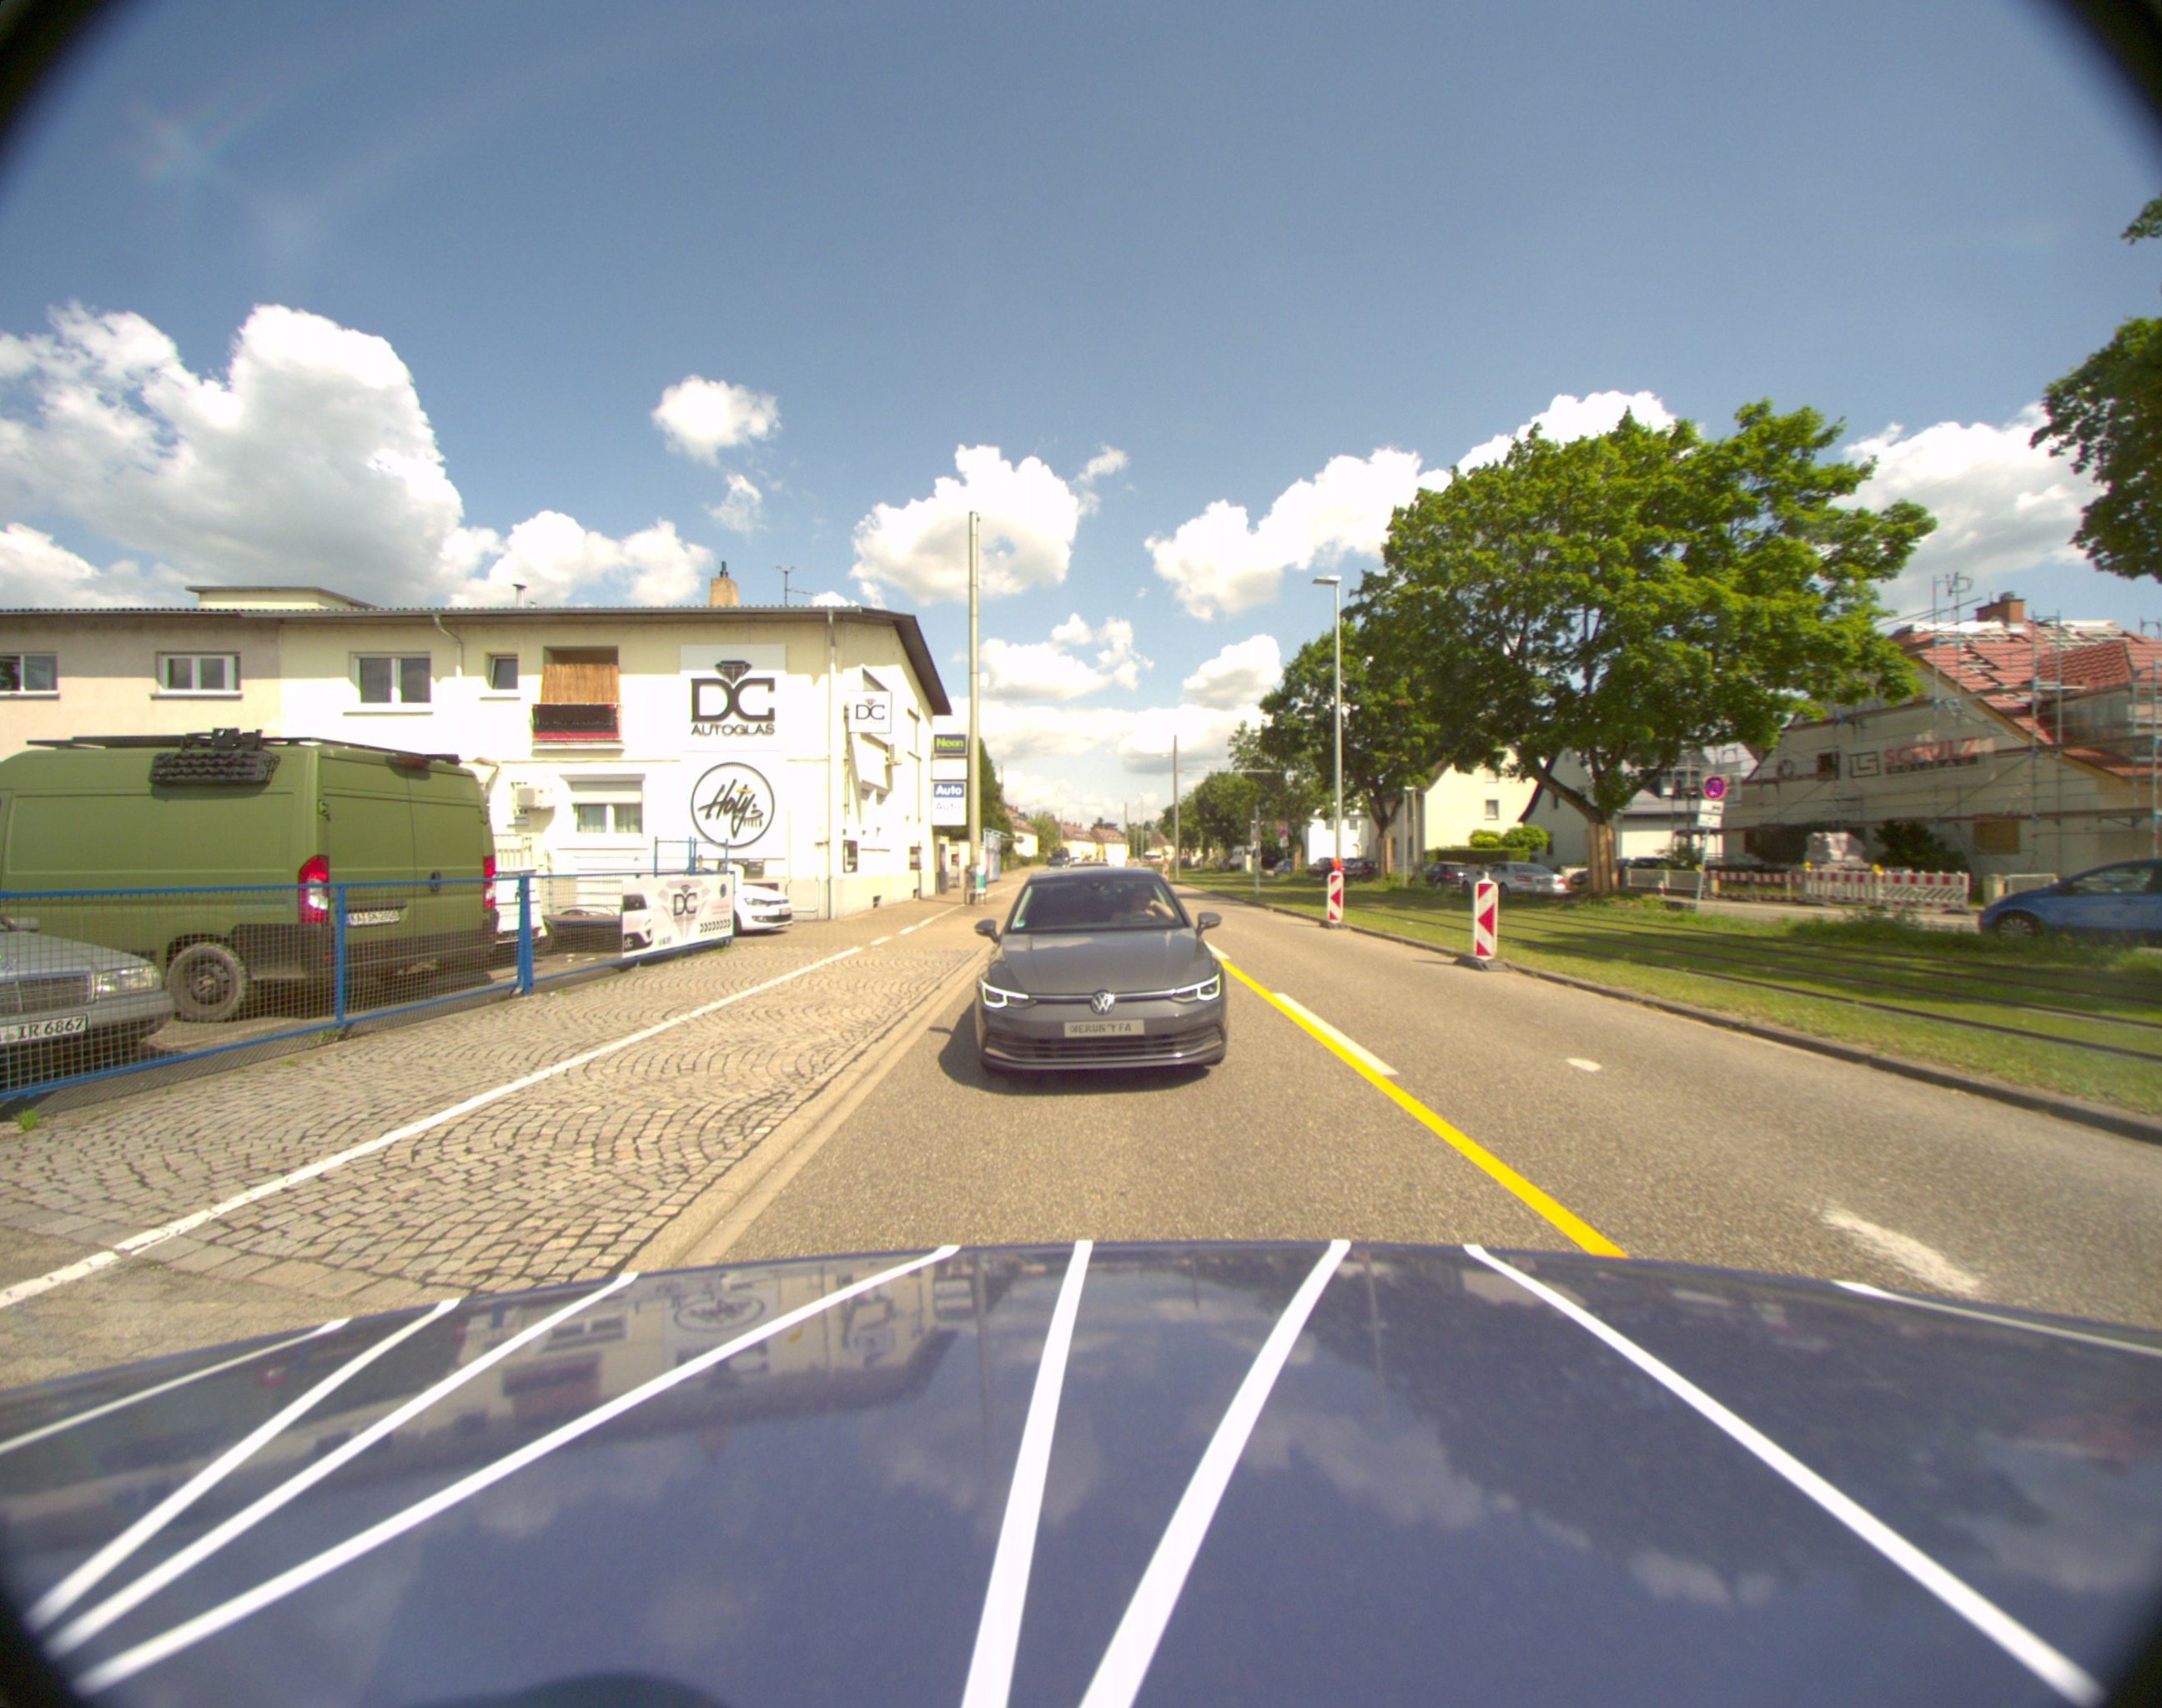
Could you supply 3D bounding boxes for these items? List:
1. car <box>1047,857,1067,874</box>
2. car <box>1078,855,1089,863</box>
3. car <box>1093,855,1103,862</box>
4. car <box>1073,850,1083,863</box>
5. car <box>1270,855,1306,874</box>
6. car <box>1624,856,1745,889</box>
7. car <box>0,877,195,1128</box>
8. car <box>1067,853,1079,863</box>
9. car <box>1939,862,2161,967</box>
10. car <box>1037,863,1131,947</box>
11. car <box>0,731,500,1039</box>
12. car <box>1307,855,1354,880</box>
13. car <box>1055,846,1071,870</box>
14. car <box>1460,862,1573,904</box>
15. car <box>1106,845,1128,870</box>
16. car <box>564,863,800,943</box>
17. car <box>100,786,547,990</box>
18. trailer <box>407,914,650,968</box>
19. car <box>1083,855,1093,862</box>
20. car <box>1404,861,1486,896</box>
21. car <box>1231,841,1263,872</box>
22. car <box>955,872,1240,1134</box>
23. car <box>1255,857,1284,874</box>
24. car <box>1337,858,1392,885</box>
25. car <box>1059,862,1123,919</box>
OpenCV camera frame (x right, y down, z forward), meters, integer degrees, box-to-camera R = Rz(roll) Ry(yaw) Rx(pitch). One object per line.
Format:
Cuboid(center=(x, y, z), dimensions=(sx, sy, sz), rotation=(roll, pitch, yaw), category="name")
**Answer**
Cuboid(center=(-2.182, 1.054, 70.749), dimensions=(1.702, 1.574, 4.000), rotation=(0, 0, 1), category="car")
Cuboid(center=(0.492, 0.912, 146.702), dimensions=(1.701, 1.574, 4.002), rotation=(0, 0, 6), category="car")
Cuboid(center=(3.856, 0.923, 173.592), dimensions=(1.700, 1.574, 4.004), rotation=(0, 0, 12), category="car")
Cuboid(center=(-0.481, 0.429, 136.398), dimensions=(1.701, 2.233, 4.947), rotation=(0, 0, 2), category="car")
Cuboid(center=(16.646, 0.881, 61.276), dimensions=(1.702, 1.477, 4.407), rotation=(-1, -1, 1), category="car")
Cuboid(center=(28.907, 0.895, 36.505), dimensions=(4.402, 1.477, 1.704), rotation=(-1, -1, 1), category="car")
Cuboid(center=(-8.459, 0.892, 4.769), dimensions=(4.282, 1.444, 1.713), rotation=(0, 0, 8), category="car")
Cuboid(center=(-1.309, 0.681, 123.035), dimensions=(1.701, 1.574, 4.001), rotation=(0, 0, 3), category="car")
Cuboid(center=(16.203, 0.870, 11.394), dimensions=(1.702, 1.477, 4.407), rotation=(-1, -1, 1), category="car")
Cuboid(center=(0.079, 0.945, 15.767), dimensions=(1.702, 1.477, 4.000), rotation=(0, 0, 1), category="car")
Cuboid(center=(-8.725, 0.275, 7.605), dimensions=(4.207, 2.627, 2.113), rotation=(0, 0, 2), category="car")
Cuboid(center=(16.556, 0.904, 50.655), dimensions=(1.702, 1.562, 4.407), rotation=(-1, -1, 1), category="car")
Cuboid(center=(-1.909, 0.456, 82.434), dimensions=(1.702, 2.510, 5.144), rotation=(0, 0, 0), category="car")
Cuboid(center=(16.421, 1.071, 28.931), dimensions=(1.788, 1.477, 4.523), rotation=(-1, -1, 2), category="car")
Cuboid(center=(3.749, 0.362, 80.274), dimensions=(2.090, 2.449, 5.842), rotation=(2, 0, 2), category="car")
Cuboid(center=(-7.661, 0.920, 14.813), dimensions=(3.775, 1.454, 1.555), rotation=(0, 0, 2), category="car")
Cuboid(center=(-9.500, 0.406, 9.748), dimensions=(4.207, 2.392, 1.586), rotation=(0, 0, 2), category="car")
Cuboid(center=(-8.367, 1.311, 11.655), dimensions=(2.733, 0.662, 1.329), rotation=(0, 0, -1), category="trailer")
Cuboid(center=(1.451, 0.916, 155.833), dimensions=(1.701, 1.574, 4.002), rotation=(0, 0, 7), category="car")
Cuboid(center=(16.627, 1.125, 34.932), dimensions=(1.702, 1.477, 4.407), rotation=(-1, -1, 1), category="car")
Cuboid(center=(16.820, 0.280, 77.266), dimensions=(2.136, 3.019, 5.084), rotation=(-1, -1, 1), category="car")
Cuboid(center=(0.126, 0.939, 6.548), dimensions=(1.702, 1.477, 4.000), rotation=(0, 0, 1), category="car")
Cuboid(center=(17.649, 1.084, 71.321), dimensions=(1.702, 1.477, 4.407), rotation=(-1, -1, 1), category="car")
Cuboid(center=(16.772, 1.041, 45.149), dimensions=(1.702, 1.477, 4.407), rotation=(-1, -1, 1), category="car")
Cuboid(center=(0.305, 0.987, 22.240), dimensions=(1.702, 1.477, 4.000), rotation=(0, 0, 1), category="car")
